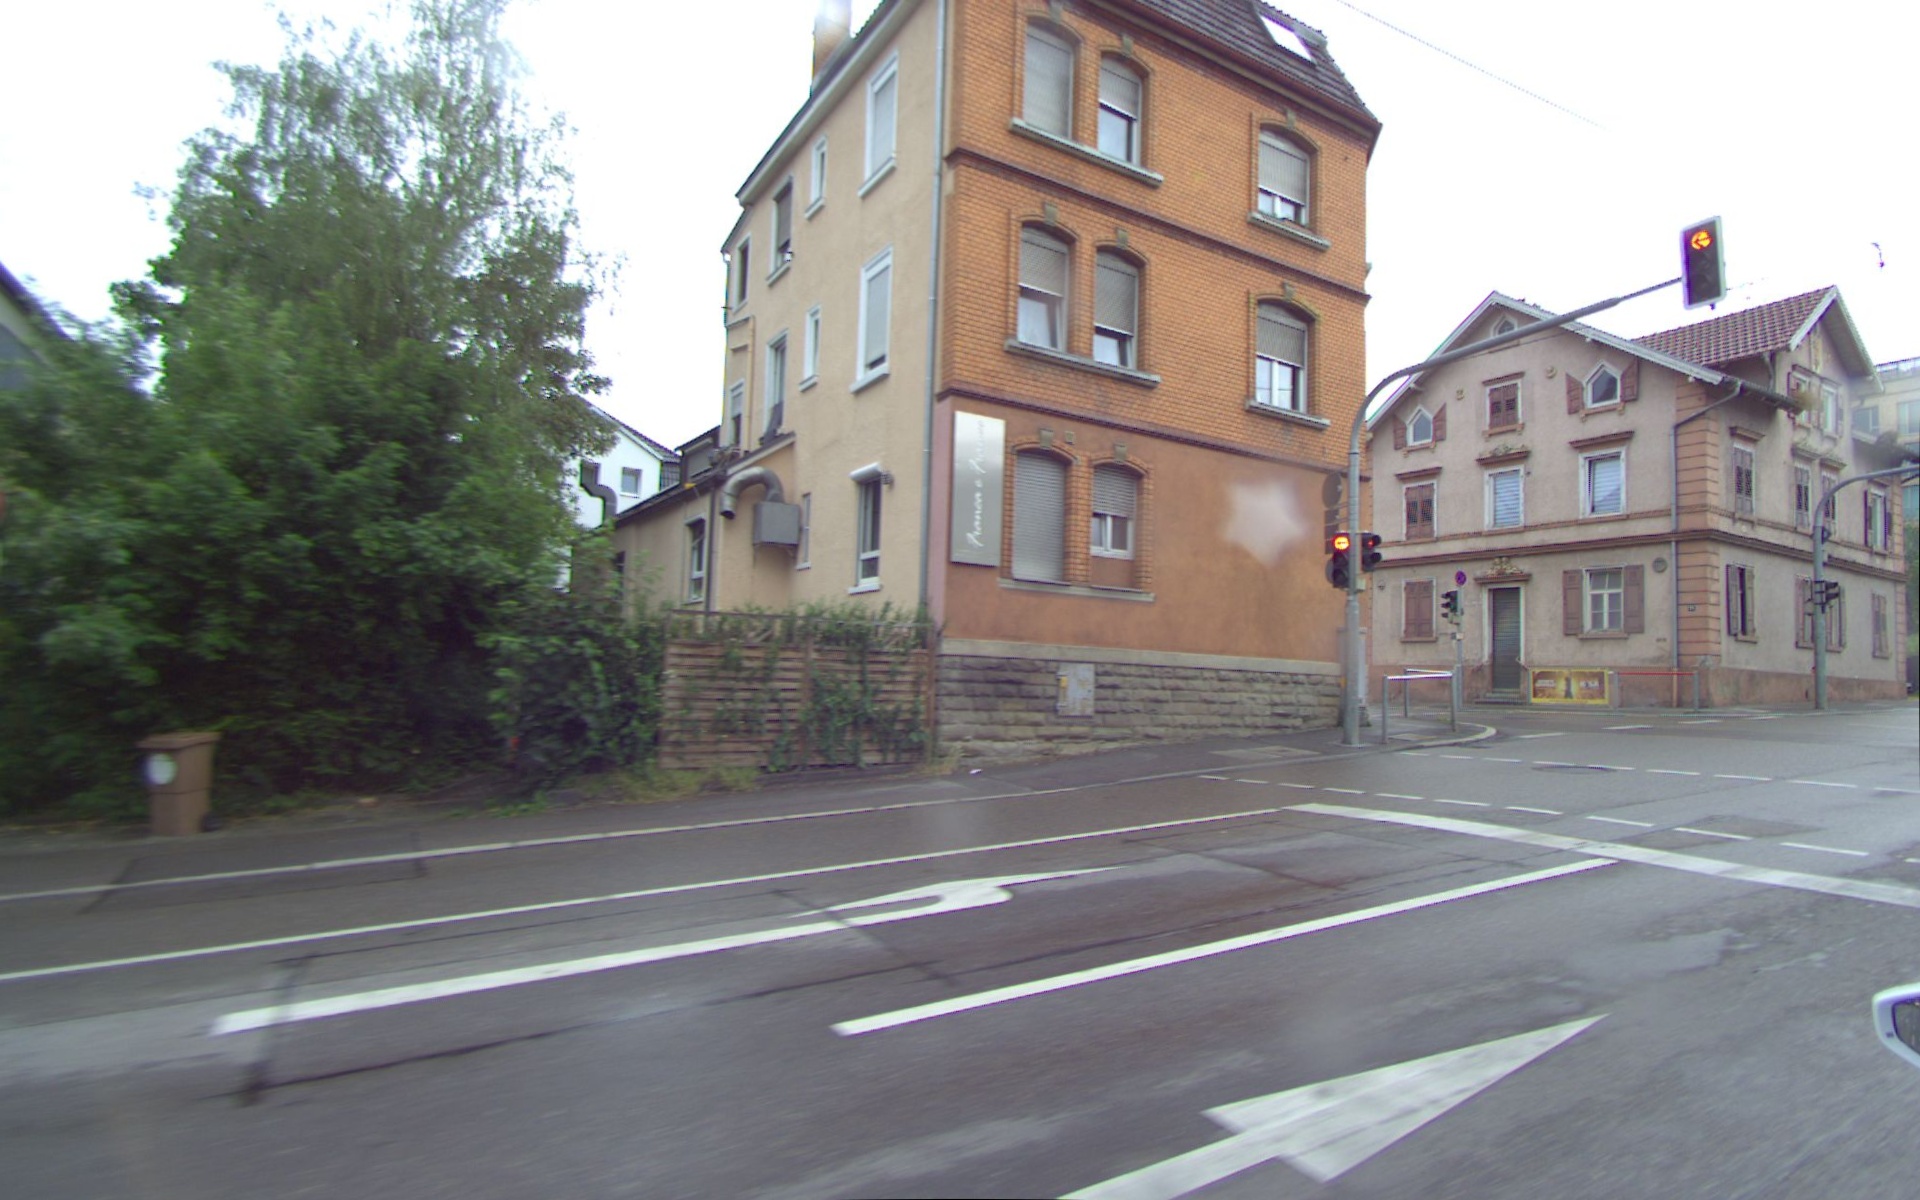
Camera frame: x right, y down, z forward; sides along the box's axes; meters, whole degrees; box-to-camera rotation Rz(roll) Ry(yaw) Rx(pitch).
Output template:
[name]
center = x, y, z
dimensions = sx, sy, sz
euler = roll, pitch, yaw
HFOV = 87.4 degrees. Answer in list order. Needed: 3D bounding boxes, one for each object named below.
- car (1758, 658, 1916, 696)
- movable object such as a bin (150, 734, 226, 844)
[car]
center = 30.862, 2.671, 35.460
dimensions = 1.591, 1.178, 3.962
euler = 3, -3, -34
[movable object such as a bin]
center = -7.236, 1.758, 9.429
dimensions = 0.521, 0.937, 0.406
euler = 3, -3, -37
